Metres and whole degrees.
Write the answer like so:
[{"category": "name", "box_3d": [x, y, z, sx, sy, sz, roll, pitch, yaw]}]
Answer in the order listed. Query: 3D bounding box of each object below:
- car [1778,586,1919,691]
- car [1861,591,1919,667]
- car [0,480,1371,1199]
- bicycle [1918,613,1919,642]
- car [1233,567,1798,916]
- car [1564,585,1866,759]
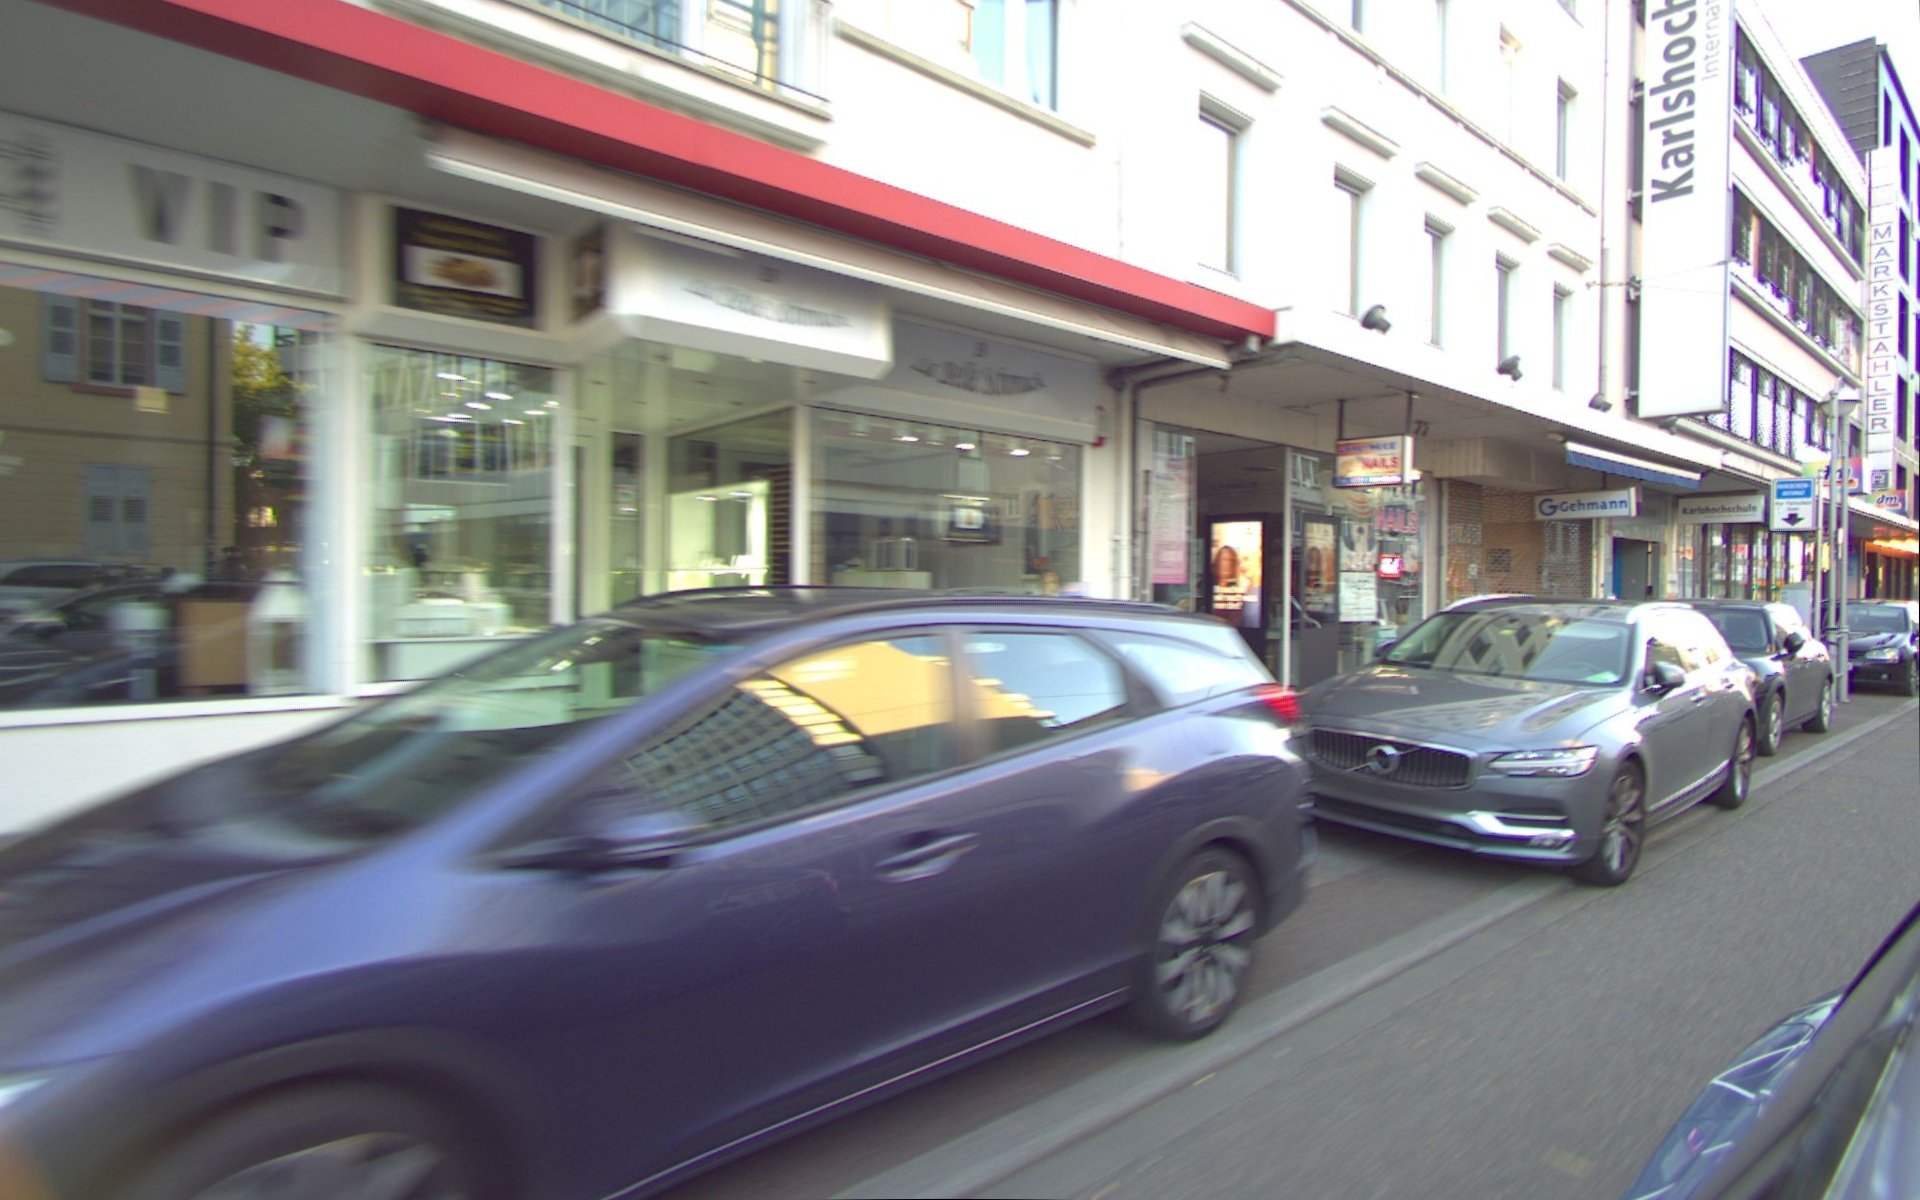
[{"category": "car", "box_3d": [15.203, 0.553, 16.835, 4.000, 1.532, 1.768, -1, 0, -40]}, {"category": "car", "box_3d": [20.447, 0.551, 21.312, 3.952, 1.481, 1.657, -1, 0, -40]}, {"category": "car", "box_3d": [-0.638, 0.609, 3.166, 4.279, 1.542, 1.784, 0, -1, -40]}, {"category": "bicycle", "box_3d": [27.273, 0.727, 27.452, 0.566, 0.984, 1.797, 0, 3, -42]}, {"category": "car", "box_3d": [3.967, 0.608, 6.774, 4.773, 1.552, 1.794, -1, 0, -41]}, {"category": "car", "box_3d": [8.105, 0.612, 10.745, 3.930, 1.500, 1.729, -1, 0, -40]}]
